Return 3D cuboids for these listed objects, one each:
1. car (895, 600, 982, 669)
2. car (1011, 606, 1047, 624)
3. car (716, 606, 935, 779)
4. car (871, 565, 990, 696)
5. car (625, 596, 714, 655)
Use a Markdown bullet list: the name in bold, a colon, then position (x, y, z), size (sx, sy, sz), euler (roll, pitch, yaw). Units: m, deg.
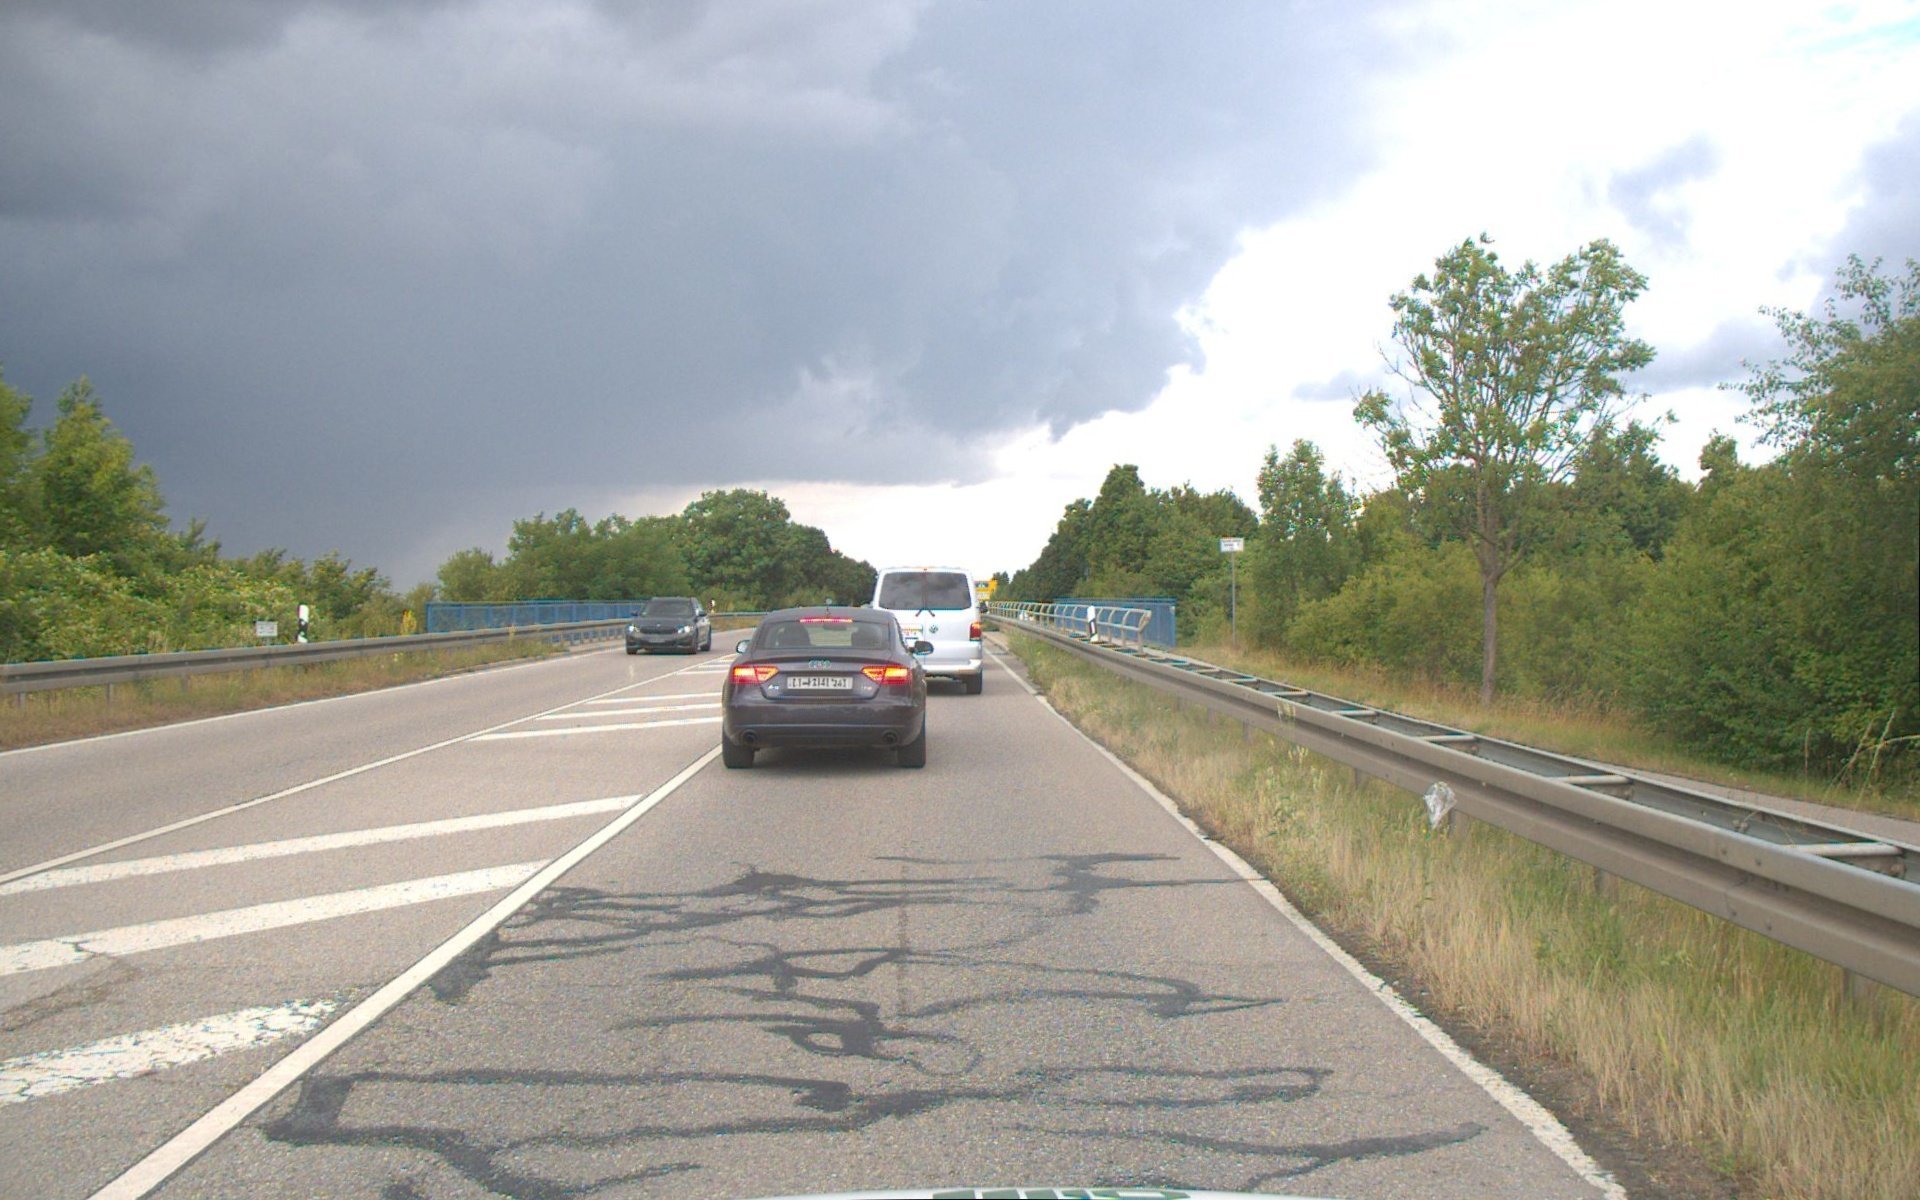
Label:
- **car**: position (-0.436, 0.718, 35.874), size (1.784, 1.405, 4.071), euler (0, 0, 0)
- **car**: position (8.375, 1.826, 199.923), size (3.909, 2.049, 1.998), euler (1, -1, 26)
- **car**: position (-1.150, 0.765, 15.653), size (1.784, 1.405, 4.070), euler (-1, 0, -1)
- **car**: position (-0.490, 0.471, 27.146), size (1.791, 1.969, 3.999), euler (-1, 0, -1)
- **car**: position (-7.695, 0.642, 44.162), size (1.763, 1.475, 4.444), euler (-1, 0, -2)
